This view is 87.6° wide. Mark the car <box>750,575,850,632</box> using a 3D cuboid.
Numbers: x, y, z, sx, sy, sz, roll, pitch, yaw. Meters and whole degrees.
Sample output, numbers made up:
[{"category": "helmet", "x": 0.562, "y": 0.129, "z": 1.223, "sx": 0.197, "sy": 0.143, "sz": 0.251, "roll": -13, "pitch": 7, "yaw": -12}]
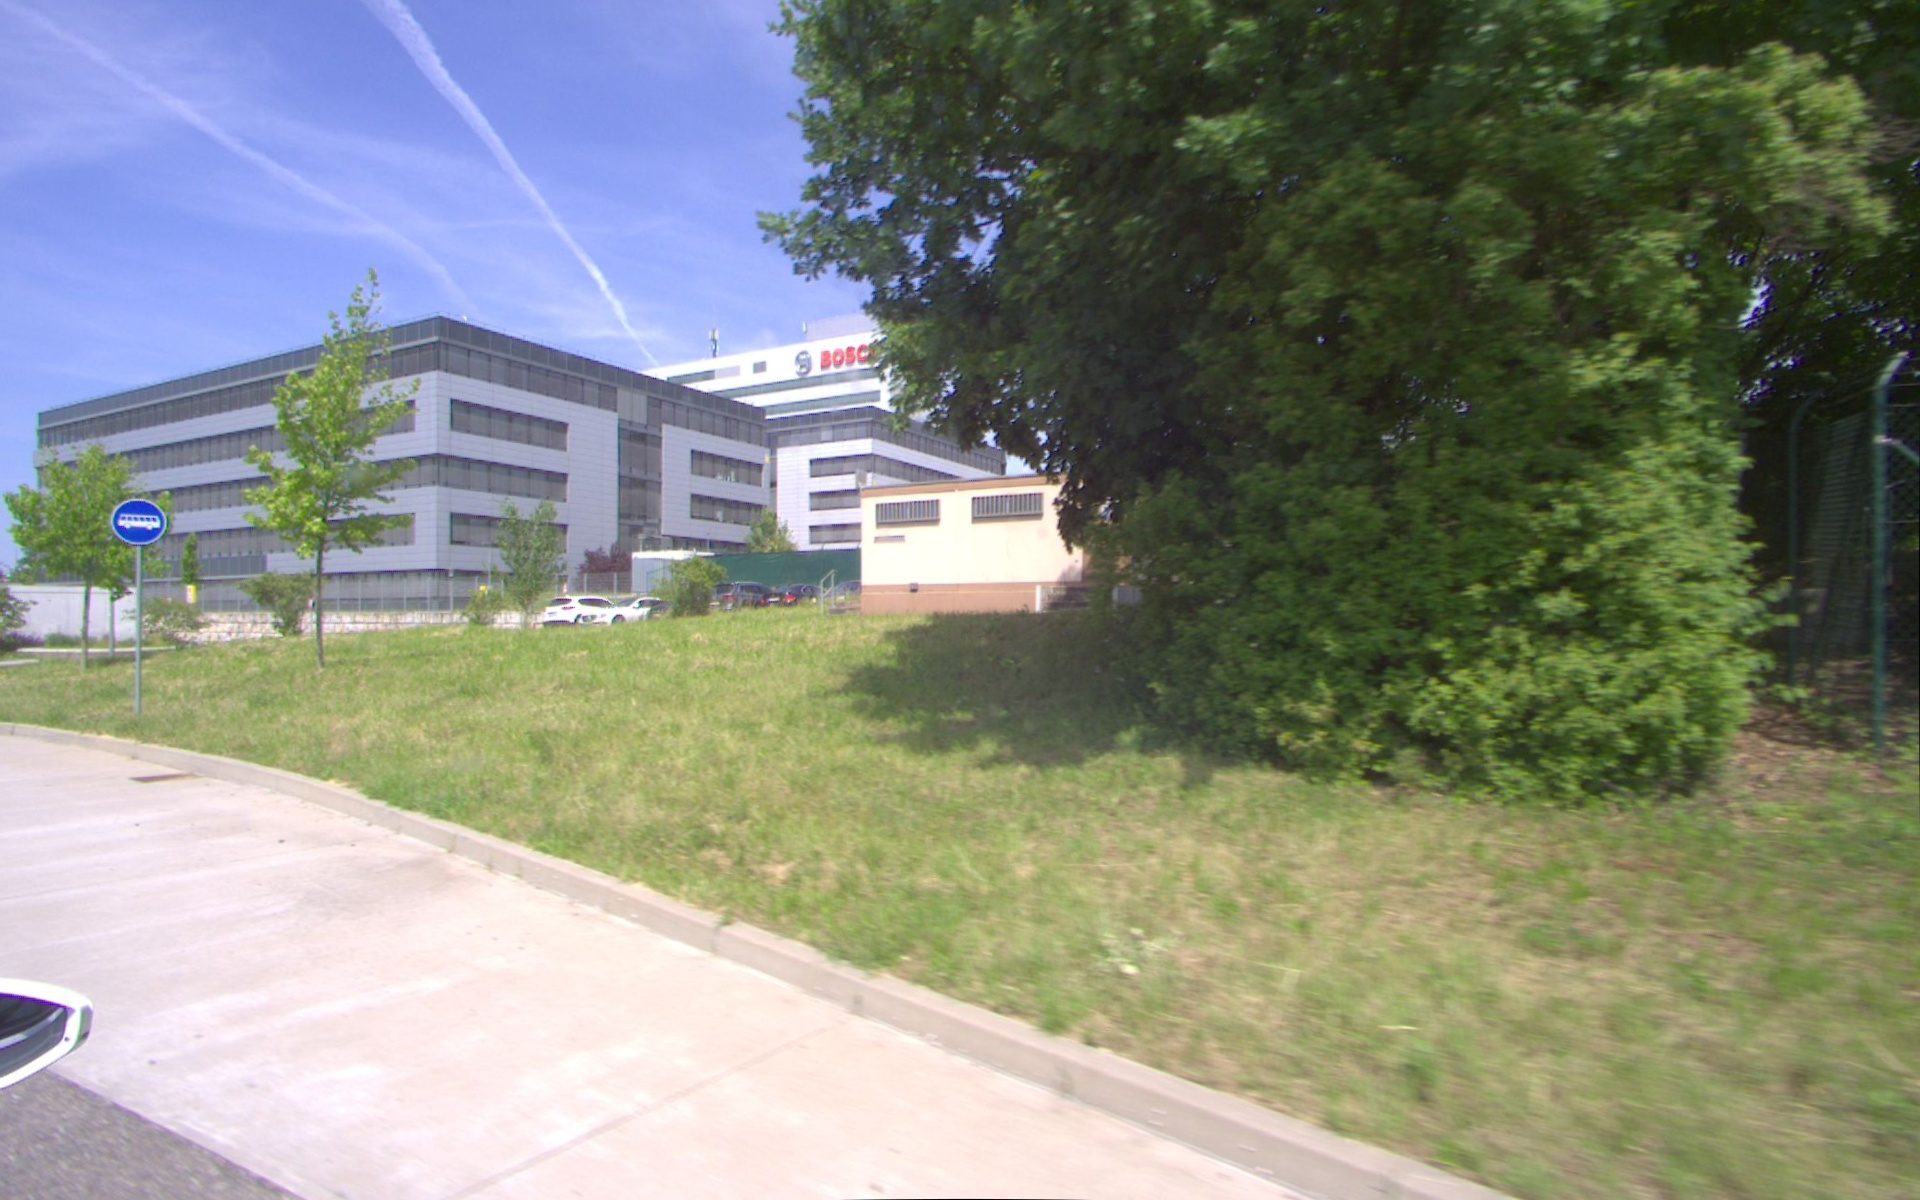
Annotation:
[{"category": "car", "x": -6.124, "y": 0.092, "z": 38.695, "sx": 1.729, "sy": 1.947, "sz": 3.982, "roll": -2, "pitch": 2, "yaw": 27}]

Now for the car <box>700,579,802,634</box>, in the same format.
[{"category": "car", "x": -8.171, "y": 0.221, "z": 39.478, "sx": 1.729, "sy": 1.947, "sz": 3.982, "roll": -2, "pitch": 2, "yaw": 27}]

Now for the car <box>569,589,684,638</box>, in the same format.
[{"category": "car", "x": -14.187, "y": 0.549, "z": 42.890, "sx": 1.947, "sy": 1.790, "sz": 4.545, "roll": -2, "pitch": 2, "yaw": 27}]

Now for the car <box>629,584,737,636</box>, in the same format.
[{"category": "car", "x": -11.129, "y": 0.355, "z": 40.454, "sx": 1.947, "sy": 1.838, "sz": 3.982, "roll": -2, "pitch": 2, "yaw": 27}]

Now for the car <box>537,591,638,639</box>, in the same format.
[{"category": "car", "x": -16.377, "y": 0.615, "z": 44.169, "sx": 1.729, "sy": 1.838, "sz": 3.982, "roll": -2, "pitch": 2, "yaw": 27}]

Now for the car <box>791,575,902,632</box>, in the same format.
[{"category": "car", "x": -4.135, "y": 0.094, "z": 37.199, "sx": 1.947, "sy": 1.838, "sz": 4.348, "roll": -2, "pitch": 2, "yaw": 27}]
